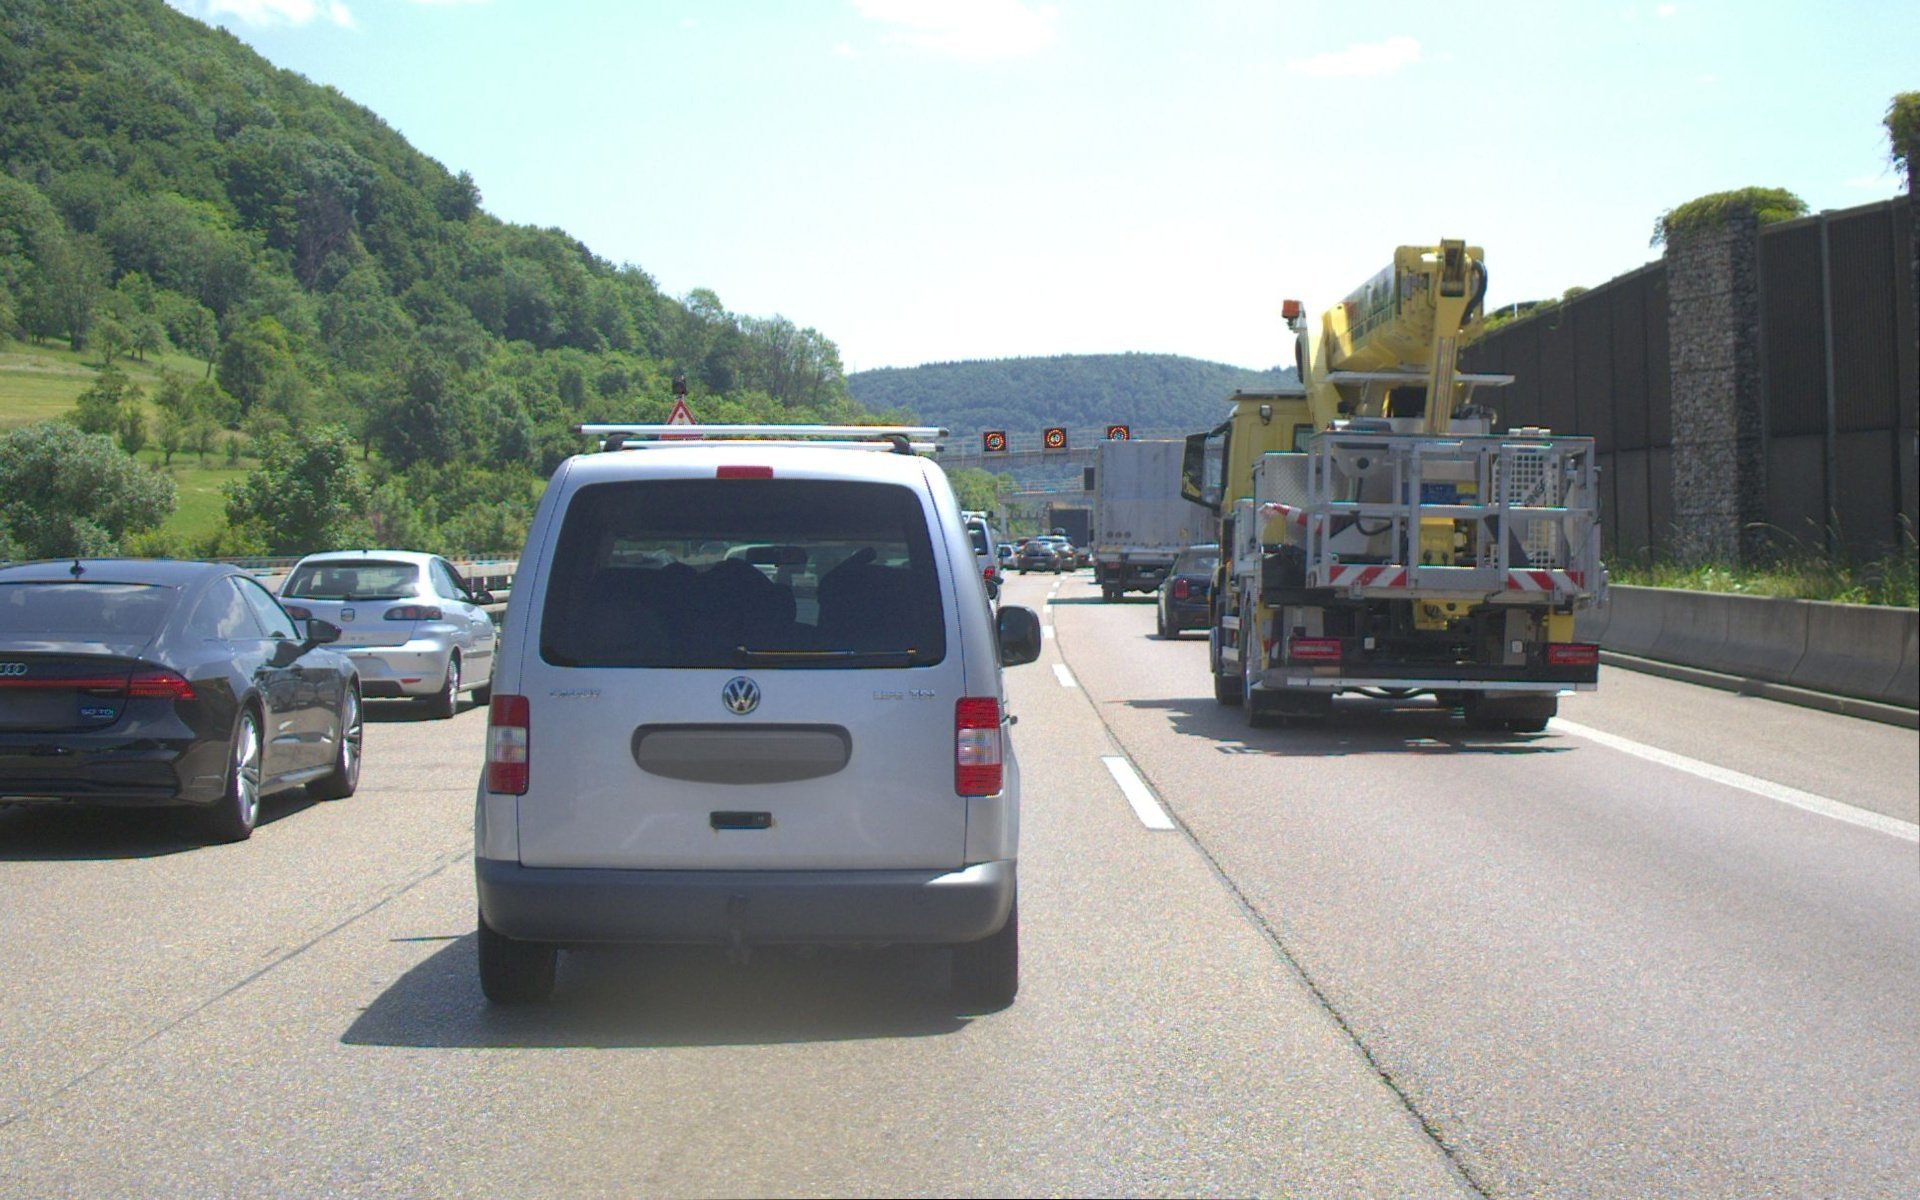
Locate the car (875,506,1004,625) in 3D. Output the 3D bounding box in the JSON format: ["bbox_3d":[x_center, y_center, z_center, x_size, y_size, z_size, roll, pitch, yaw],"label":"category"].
[{"bbox_3d":[-0.388,-0.618,59.234,1.993,1.969,4.001,0,1,-3],"label":"car"}]

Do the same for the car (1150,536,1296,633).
[{"bbox_3d":[4.095,-0.268,53.963,1.786,1.453,3.771,0,1,-3],"label":"car"}]

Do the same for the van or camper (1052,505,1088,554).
[{"bbox_3d":[6.856,-4.388,214.354,1.993,2.943,5.423,1,0,-1],"label":"van or camper"}]

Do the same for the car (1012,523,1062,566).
[{"bbox_3d":[3.223,-2.321,144.748,1.993,1.743,4.000,1,0,0],"label":"car"}]

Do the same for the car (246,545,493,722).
[{"bbox_3d":[-5.125,0.242,30.242,1.695,1.440,3.862,0,1,-3],"label":"car"}]

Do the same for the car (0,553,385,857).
[{"bbox_3d":[-4.421,0.459,18.479,1.800,1.385,4.969,0,1,0],"label":"car"}]

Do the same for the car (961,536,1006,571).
[{"bbox_3d":[1.254,-2.462,184.120,2.114,1.821,4.001,1,0,-4],"label":"car"}]

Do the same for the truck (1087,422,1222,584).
[{"bbox_3d":[4.748,-2.339,85.459,2.940,3.810,8.237,1,0,1],"label":"truck"}]

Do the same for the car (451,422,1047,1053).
[{"bbox_3d":[-0.742,0.369,12.214,1.756,1.861,4.001,0,1,-3],"label":"car"}]

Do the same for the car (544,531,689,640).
[{"bbox_3d":[-4.904,-0.231,49.523,1.924,1.494,4.001,0,1,-3],"label":"car"}]

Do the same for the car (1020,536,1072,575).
[{"bbox_3d":[4.100,-2.131,164.279,2.114,1.821,4.001,1,0,-4],"label":"car"}]

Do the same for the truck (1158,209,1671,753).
[{"bbox_3d":[3.553,-0.944,29.288,2.703,3.929,8.723,0,1,-3],"label":"truck"}]
